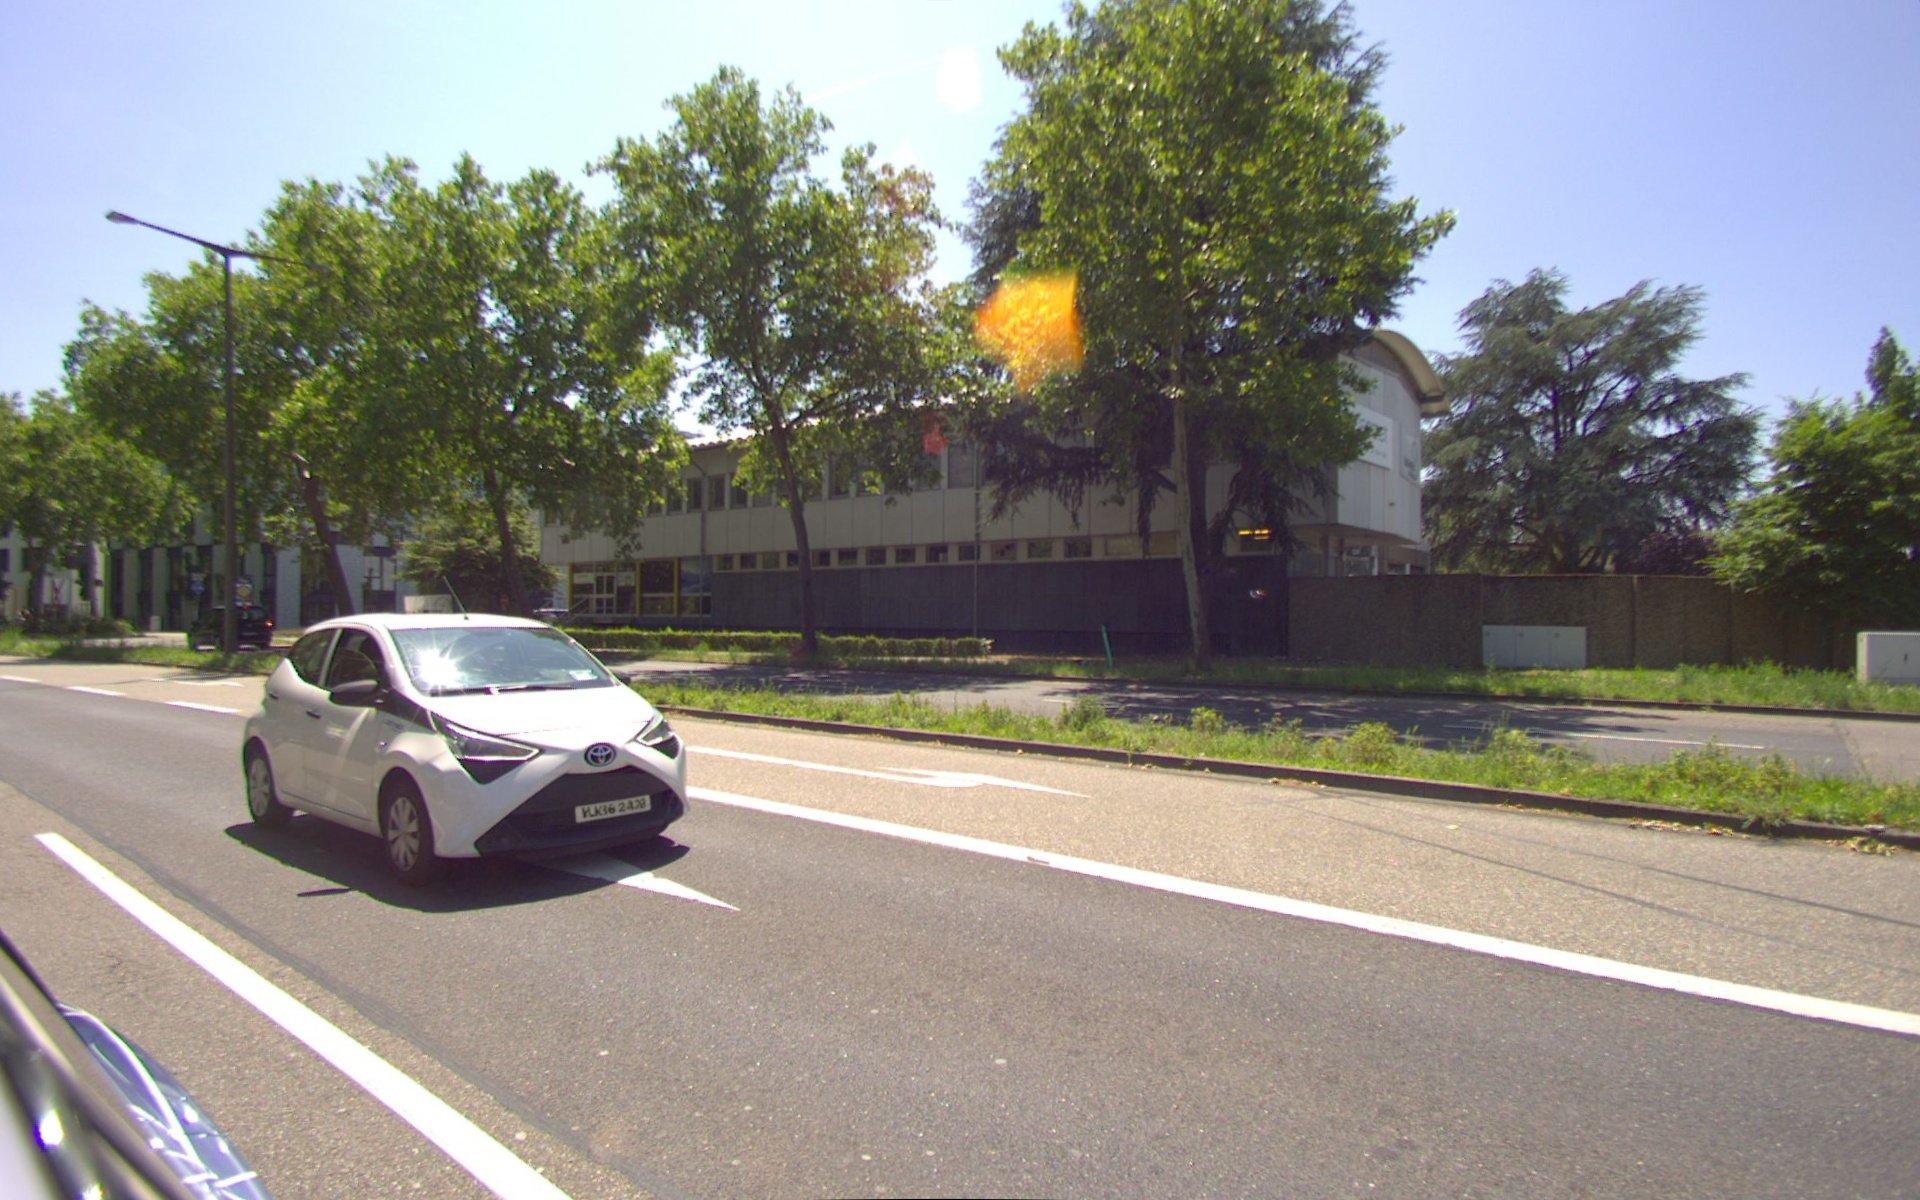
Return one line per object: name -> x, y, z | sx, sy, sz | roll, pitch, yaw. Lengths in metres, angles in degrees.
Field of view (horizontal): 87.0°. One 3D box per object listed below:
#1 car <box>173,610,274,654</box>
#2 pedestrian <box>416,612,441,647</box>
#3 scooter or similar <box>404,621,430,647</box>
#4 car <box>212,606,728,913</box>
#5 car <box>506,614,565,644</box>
car -> -29.834, 1.285, 40.964 | 4.432, 1.692, 1.896 | -1, -1, 34
pedestrian -> -23.788, 1.324, 45.289 | 0.788, 1.572, 0.637 | -1, -2, 31
scooter or similar -> -24.506, 1.537, 45.693 | 0.856, 1.172, 0.673 | -1, -2, 31
car -> -3.314, 0.794, 6.593 | 3.647, 1.456, 1.603 | -1, -2, 38
car -> -24.961, 1.657, 59.511 | 3.524, 1.659, 1.797 | -1, 0, 40
